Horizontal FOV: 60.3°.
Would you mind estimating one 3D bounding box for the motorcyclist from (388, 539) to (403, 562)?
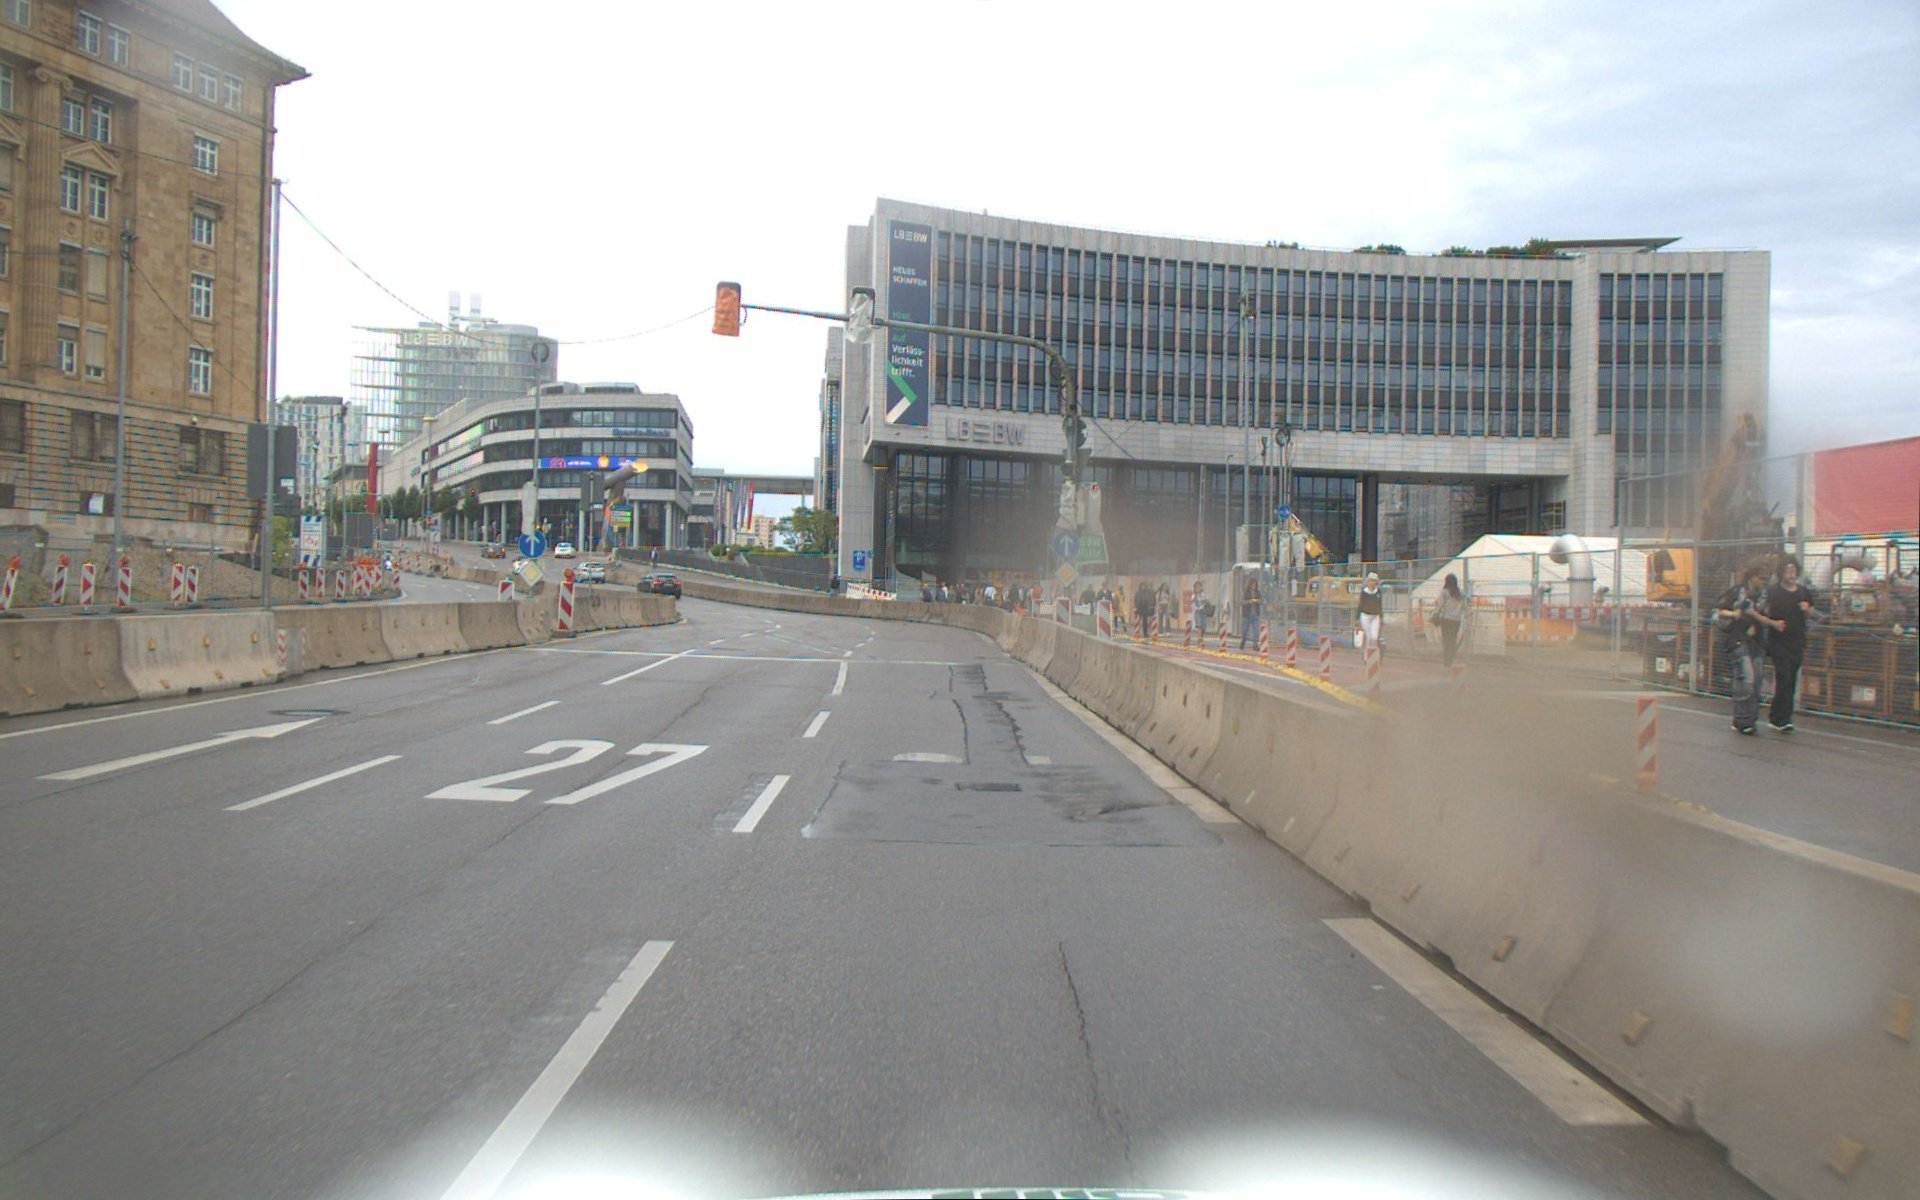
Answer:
[{"bbox_3d":[-36.417,-3.192,106.636,0.789,1.476,0.818,1,1,-28],"label":"motorcyclist"}]

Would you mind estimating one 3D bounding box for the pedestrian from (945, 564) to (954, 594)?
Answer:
[{"bbox_3d":[-0.603,-1.250,96.360,0.445,1.734,0.646,1,1,-7],"label":"pedestrian"}]

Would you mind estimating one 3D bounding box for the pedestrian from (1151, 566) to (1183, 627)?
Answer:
[{"bbox_3d":[6.503,-0.118,52.029,0.764,1.894,1.057,1,1,-6],"label":"pedestrian"}]

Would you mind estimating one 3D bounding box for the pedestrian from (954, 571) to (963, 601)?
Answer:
[{"bbox_3d":[-0.078,-0.843,96.534,0.439,1.734,0.646,1,1,-7],"label":"pedestrian"}]

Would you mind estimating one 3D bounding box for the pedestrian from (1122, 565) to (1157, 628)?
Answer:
[{"bbox_3d":[5.506,-0.123,50.695,0.853,1.894,0.947,1,1,-6],"label":"pedestrian"}]

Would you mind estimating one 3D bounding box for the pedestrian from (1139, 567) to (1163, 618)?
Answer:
[{"bbox_3d":[7.152,-0.287,61.955,0.764,1.894,0.810,0,1,-6],"label":"pedestrian"}]

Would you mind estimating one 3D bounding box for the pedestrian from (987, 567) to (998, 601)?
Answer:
[{"bbox_3d":[1.787,-0.869,91.222,0.518,1.850,0.536,1,1,-3],"label":"pedestrian"}]

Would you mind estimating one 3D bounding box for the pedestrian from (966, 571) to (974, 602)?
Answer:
[{"bbox_3d":[0.583,-0.765,94.519,0.439,1.734,0.647,1,1,0],"label":"pedestrian"}]

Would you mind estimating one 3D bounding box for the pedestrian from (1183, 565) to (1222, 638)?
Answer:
[{"bbox_3d":[6.443,0.026,44.012,0.764,1.894,0.948,1,1,-6],"label":"pedestrian"}]

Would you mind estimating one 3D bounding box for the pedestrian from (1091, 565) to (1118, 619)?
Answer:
[{"bbox_3d":[5.135,-0.291,58.865,0.764,1.894,0.810,1,1,-6],"label":"pedestrian"}]

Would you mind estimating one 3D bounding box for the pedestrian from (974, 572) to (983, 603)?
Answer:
[{"bbox_3d":[1.067,-0.723,94.193,0.438,1.734,0.647,1,1,6],"label":"pedestrian"}]

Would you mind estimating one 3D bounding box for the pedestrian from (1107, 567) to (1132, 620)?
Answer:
[{"bbox_3d":[5.770,-0.237,59.771,0.718,1.886,0.830,1,0,-4],"label":"pedestrian"}]

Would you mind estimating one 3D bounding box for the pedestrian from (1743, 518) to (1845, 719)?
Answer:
[{"bbox_3d":[8.694,0.179,17.259,0.665,2.048,0.686,1,2,-1],"label":"pedestrian"}]

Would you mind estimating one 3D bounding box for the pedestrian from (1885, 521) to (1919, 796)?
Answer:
[{"bbox_3d":[7.073,0.413,11.505,0.780,1.910,0.820,1,0,-1],"label":"pedestrian"}]

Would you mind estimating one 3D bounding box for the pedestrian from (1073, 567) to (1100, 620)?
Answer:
[{"bbox_3d":[4.438,-0.232,58.093,0.803,1.859,1.110,0,0,-5],"label":"pedestrian"}]

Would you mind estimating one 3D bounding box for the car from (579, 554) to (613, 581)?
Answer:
[{"bbox_3d":[-25.608,-2.292,116.236,1.714,1.908,3.753,1,1,-22],"label":"car"}]

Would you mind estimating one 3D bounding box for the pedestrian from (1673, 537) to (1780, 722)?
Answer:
[{"bbox_3d":[7.912,0.294,17.086,0.780,1.866,0.626,1,0,-1],"label":"pedestrian"}]

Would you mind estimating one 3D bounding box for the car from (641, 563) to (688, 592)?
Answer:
[{"bbox_3d":[-16.928,-1.270,94.654,1.654,1.534,3.713,1,-2,-26],"label":"car"}]

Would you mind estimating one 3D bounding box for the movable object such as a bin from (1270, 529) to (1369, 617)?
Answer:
[{"bbox_3d":[17.350,-1.318,79.984,3.048,4.100,3.667,1,1,-26],"label":"movable object such as a bin"}]

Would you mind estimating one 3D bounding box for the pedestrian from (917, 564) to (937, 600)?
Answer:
[{"bbox_3d":[-1.585,-0.855,78.901,0.738,1.670,0.820,1,1,-15],"label":"pedestrian"}]

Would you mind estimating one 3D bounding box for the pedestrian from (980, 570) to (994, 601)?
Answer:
[{"bbox_3d":[1.505,-0.825,92.825,0.508,1.734,0.566,0,1,-40],"label":"pedestrian"}]

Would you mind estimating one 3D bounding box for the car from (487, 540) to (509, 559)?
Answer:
[{"bbox_3d":[-45.363,-4.959,162.340,1.961,1.835,4.247,1,2,-16],"label":"car"}]

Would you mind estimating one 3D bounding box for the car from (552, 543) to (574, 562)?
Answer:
[{"bbox_3d":[-40.030,-4.790,166.780,1.961,1.835,4.247,1,2,-16],"label":"car"}]

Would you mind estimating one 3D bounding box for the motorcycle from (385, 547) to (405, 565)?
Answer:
[{"bbox_3d":[-36.421,-2.835,106.612,0.859,1.168,2.135,1,1,-27],"label":"motorcycle"}]

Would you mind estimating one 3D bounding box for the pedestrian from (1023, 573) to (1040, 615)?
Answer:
[{"bbox_3d":[3.553,-0.296,82.223,0.768,2.048,0.863,1,1,4],"label":"pedestrian"}]

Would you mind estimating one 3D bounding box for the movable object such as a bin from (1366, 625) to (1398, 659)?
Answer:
[{"bbox_3d":[8.167,0.808,32.033,0.425,0.635,0.534,1,1,-6],"label":"movable object such as a bin"}]

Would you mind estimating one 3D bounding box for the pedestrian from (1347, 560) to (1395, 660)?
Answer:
[{"bbox_3d":[7.843,0.185,31.593,0.652,1.894,0.682,1,1,-6],"label":"pedestrian"}]

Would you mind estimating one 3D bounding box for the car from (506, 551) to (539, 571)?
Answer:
[{"bbox_3d":[-34.133,-3.025,128.940,1.721,1.532,3.720,1,1,-28],"label":"car"}]

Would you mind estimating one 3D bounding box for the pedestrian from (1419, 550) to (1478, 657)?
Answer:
[{"bbox_3d":[8.814,0.060,29.861,0.771,1.894,0.682,1,1,-7],"label":"pedestrian"}]

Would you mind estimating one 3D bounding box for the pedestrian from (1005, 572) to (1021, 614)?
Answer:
[{"bbox_3d":[2.640,-0.340,82.286,0.768,2.048,0.863,1,1,4],"label":"pedestrian"}]

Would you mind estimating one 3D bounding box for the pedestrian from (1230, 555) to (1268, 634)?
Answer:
[{"bbox_3d":[7.062,-0.141,40.482,0.676,1.894,0.810,1,1,-6],"label":"pedestrian"}]

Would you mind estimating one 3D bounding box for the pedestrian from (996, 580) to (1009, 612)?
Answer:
[{"bbox_3d":[2.364,-0.221,92.593,0.613,1.734,0.646,1,1,-4],"label":"pedestrian"}]

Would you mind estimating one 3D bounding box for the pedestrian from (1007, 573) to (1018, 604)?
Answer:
[{"bbox_3d":[3.001,-0.661,94.641,0.490,1.734,0.732,1,1,-4],"label":"pedestrian"}]

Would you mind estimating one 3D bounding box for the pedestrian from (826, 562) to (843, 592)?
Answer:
[{"bbox_3d":[-7.938,-1.456,104.209,0.746,1.821,1.049,1,0,-24],"label":"pedestrian"}]

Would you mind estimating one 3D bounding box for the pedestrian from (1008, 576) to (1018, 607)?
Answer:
[{"bbox_3d":[2.959,-0.493,92.582,0.439,1.734,0.646,1,1,-4],"label":"pedestrian"}]

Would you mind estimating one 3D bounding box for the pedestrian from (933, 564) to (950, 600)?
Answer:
[{"bbox_3d":[-0.887,-0.866,79.111,0.647,1.670,0.820,1,1,-15],"label":"pedestrian"}]

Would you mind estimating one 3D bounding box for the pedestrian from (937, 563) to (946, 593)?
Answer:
[{"bbox_3d":[-1.083,-1.272,96.272,0.439,1.734,0.646,1,1,-7],"label":"pedestrian"}]

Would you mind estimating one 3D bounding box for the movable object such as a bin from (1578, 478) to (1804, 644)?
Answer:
[{"bbox_3d":[16.626,-0.886,38.007,3.844,3.553,4.360,0,1,11],"label":"movable object such as a bin"}]
